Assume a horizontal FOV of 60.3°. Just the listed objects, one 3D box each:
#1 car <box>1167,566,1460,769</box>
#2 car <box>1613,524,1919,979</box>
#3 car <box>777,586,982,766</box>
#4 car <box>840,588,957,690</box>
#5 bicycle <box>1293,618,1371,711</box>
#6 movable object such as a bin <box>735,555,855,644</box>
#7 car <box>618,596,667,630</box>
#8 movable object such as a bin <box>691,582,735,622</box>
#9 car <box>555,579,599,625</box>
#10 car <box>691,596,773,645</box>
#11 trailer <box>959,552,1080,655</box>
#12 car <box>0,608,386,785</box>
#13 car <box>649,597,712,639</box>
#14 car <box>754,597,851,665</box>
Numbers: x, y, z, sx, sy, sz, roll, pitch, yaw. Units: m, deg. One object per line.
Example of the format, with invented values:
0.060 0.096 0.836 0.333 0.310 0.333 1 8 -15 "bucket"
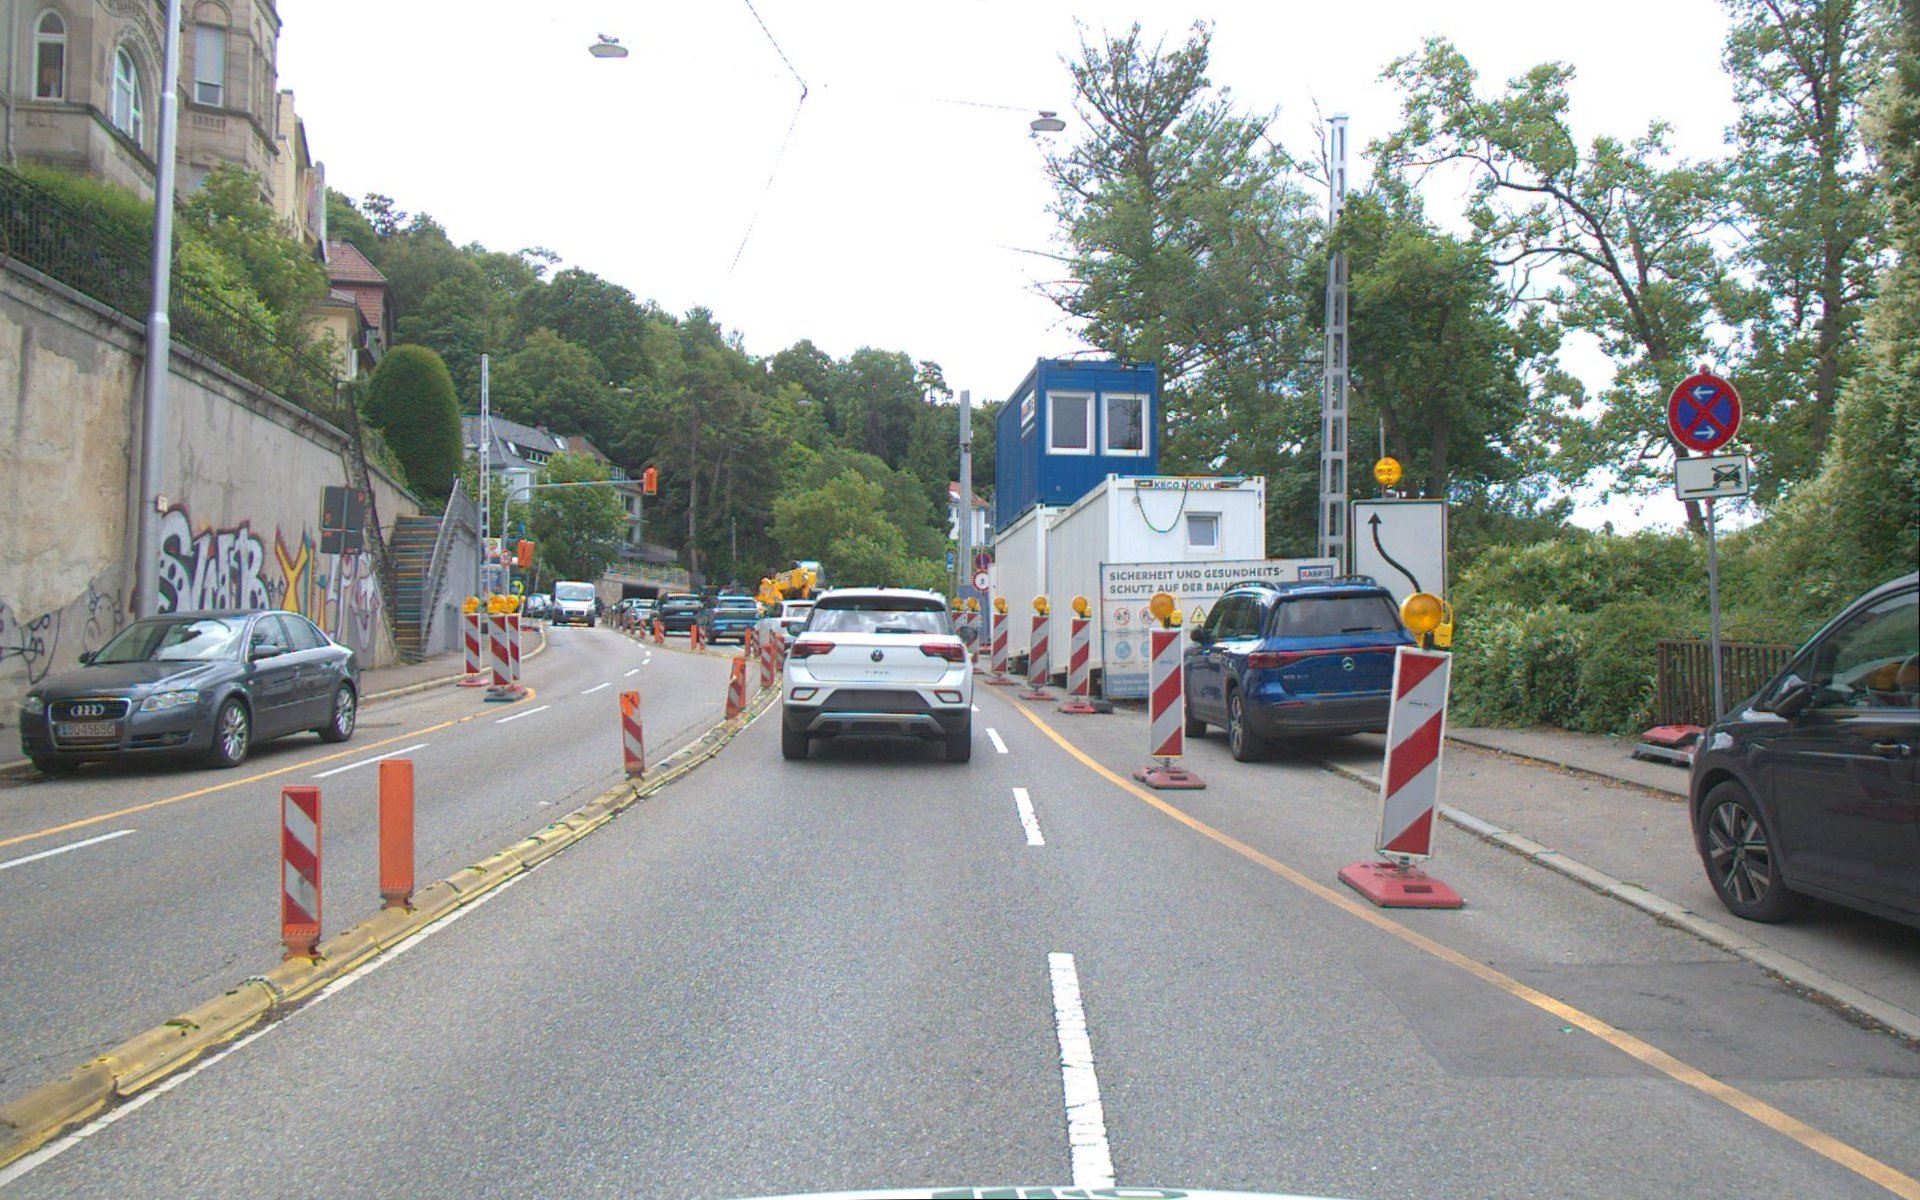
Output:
3.432 0.604 16.980 1.803 1.671 4.501 -4 0 -2 "car"
4.475 0.507 6.391 1.825 1.703 4.644 -5 0 -2 "car"
-0.710 0.660 16.328 1.773 1.558 4.000 0 0 0 "car"
-1.157 0.641 29.466 1.775 1.692 3.994 0 0 -7 "car"
4.892 0.827 21.846 0.488 1.127 1.799 -2 0 -3 "bicycle"
-6.449 -0.032 63.459 2.769 3.124 7.779 2 0 -19 "movable object such as a bin"
-15.504 0.618 80.620 1.767 1.536 3.978 -2 1 -19 "car"
-17.236 0.140 115.554 2.166 2.709 4.945 1 0 2 "movable object such as a bin"
-19.273 0.086 83.261 2.031 2.226 4.946 -1 1 -13 "car"
-7.502 0.649 54.149 1.769 1.537 3.974 0 0 -22 "car"
1.510 0.085 44.488 2.070 2.594 5.104 -1 0 -12 "trailer"
-7.275 0.824 16.094 1.762 1.397 4.388 -2 0 1 "car"
-11.091 0.688 65.444 1.767 1.536 3.978 -2 1 -19 "car"
-4.190 0.772 43.484 1.781 1.692 3.981 0 0 -17 "car"
